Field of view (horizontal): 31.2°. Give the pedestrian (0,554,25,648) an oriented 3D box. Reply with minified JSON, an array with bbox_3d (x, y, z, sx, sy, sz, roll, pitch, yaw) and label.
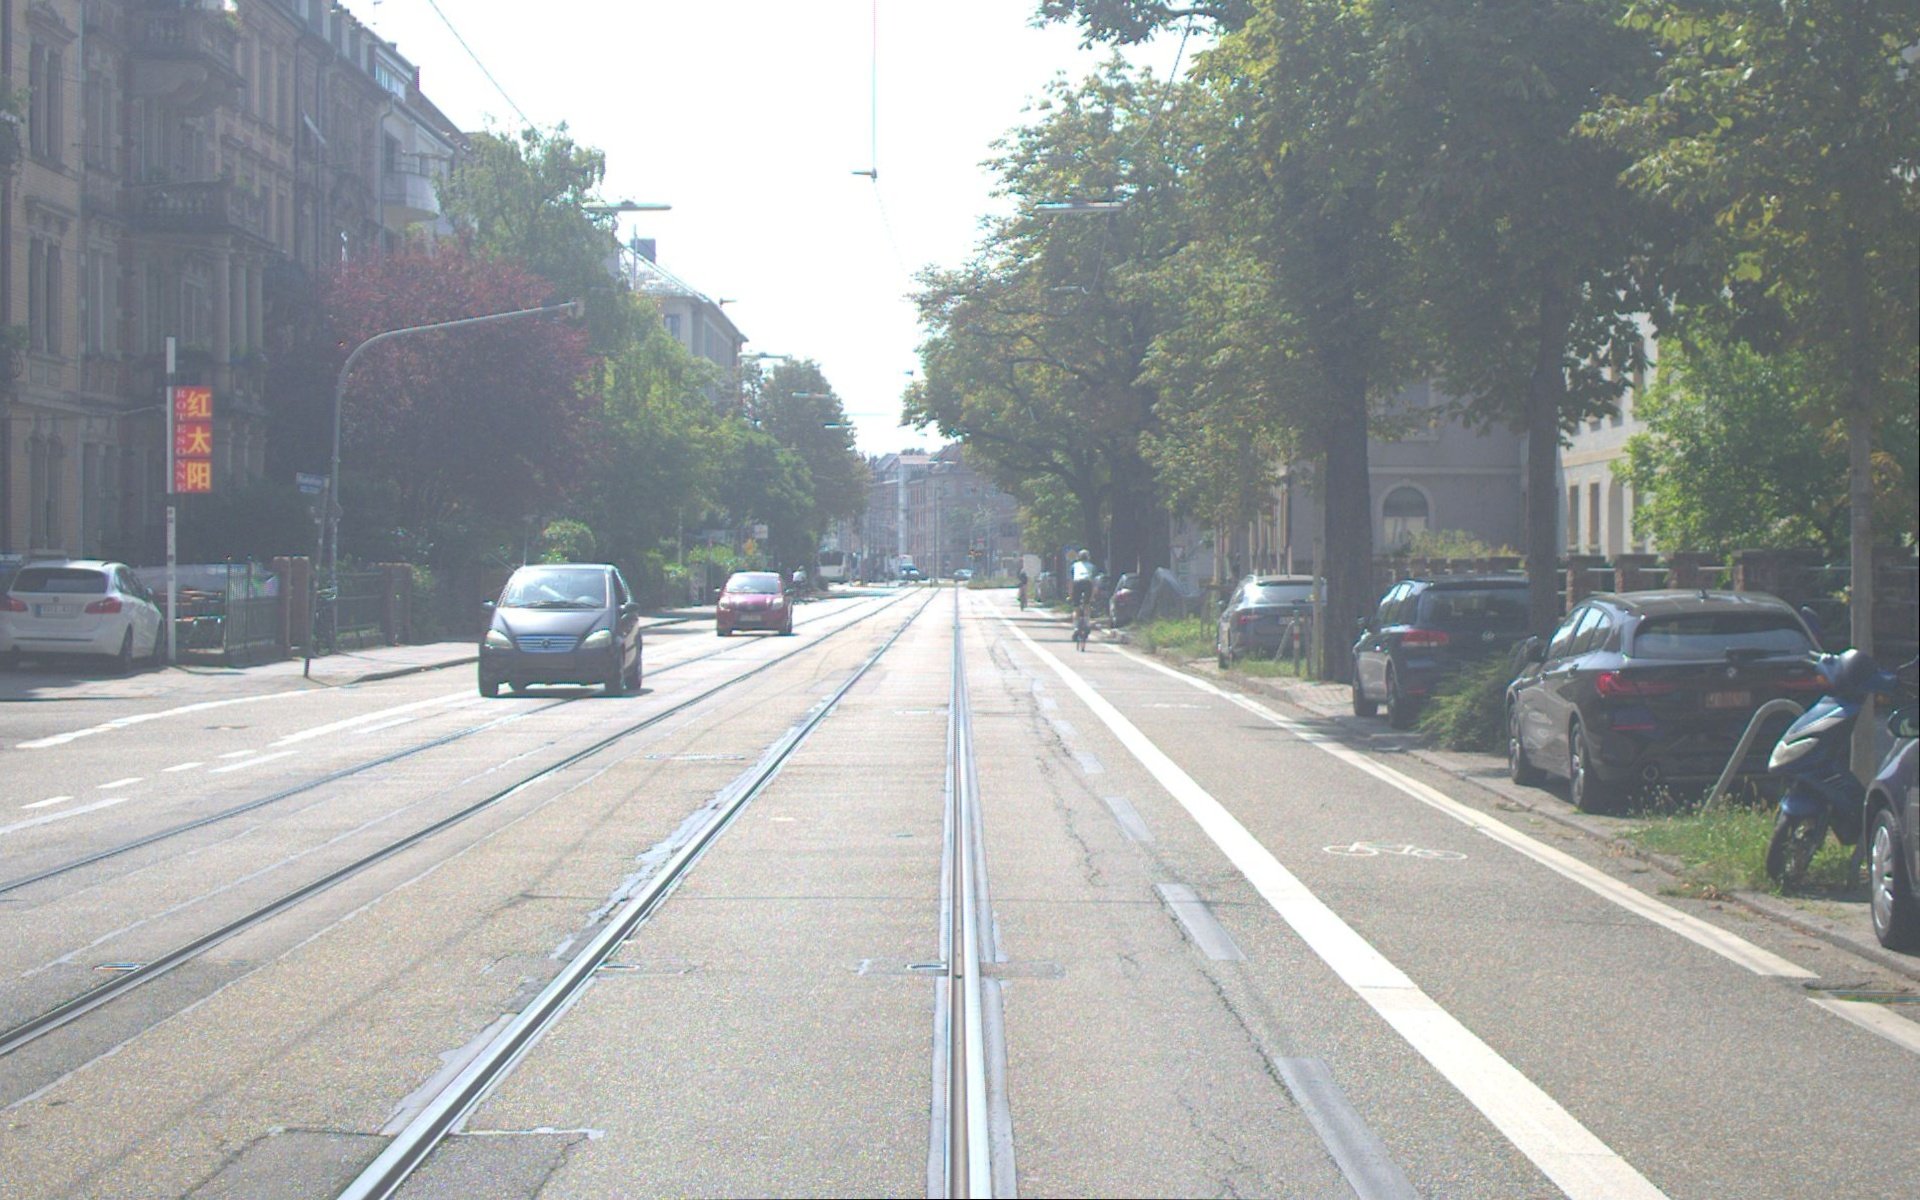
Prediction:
[{"bbox_3d":[-15.807,0.011,56.041,0.883,1.506,0.870,0,1,-31],"label":"pedestrian"}]

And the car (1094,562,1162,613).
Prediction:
[{"bbox_3d":[5.290,-0.417,108.783,1.840,1.527,4.780,-1,1,0],"label":"car"}]

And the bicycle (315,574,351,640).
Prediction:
[{"bbox_3d":[-10.728,0.118,58.866,0.390,1.095,1.569,1,1,-2],"label":"bicycle"}]

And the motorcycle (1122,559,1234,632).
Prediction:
[{"bbox_3d":[4.820,-0.093,76.065,2.344,1.535,0.966,-2,-1,41],"label":"motorcycle"}]

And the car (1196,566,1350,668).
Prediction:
[{"bbox_3d":[4.764,0.230,52.912,1.892,1.472,4.840,0,1,0],"label":"car"}]

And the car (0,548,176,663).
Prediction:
[{"bbox_3d":[-12.655,0.050,49.480,1.993,1.589,4.360,0,1,-4],"label":"car"}]

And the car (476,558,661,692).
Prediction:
[{"bbox_3d":[-4.743,0.266,42.129,1.827,1.535,4.000,0,1,0],"label":"car"}]

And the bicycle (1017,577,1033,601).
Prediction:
[{"bbox_3d":[2.591,-0.449,136.834,0.588,0.936,2.171,0,0,2],"label":"bicycle"}]

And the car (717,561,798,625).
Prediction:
[{"bbox_3d":[-4.850,-0.184,82.781,1.732,1.485,4.000,0,1,0],"label":"car"}]

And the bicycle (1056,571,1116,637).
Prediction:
[{"bbox_3d":[2.479,0.064,68.015,1.148,1.265,2.712,0,1,2],"label":"bicycle"}]

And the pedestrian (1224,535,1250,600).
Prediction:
[{"bbox_3d":[8.102,-0.945,100.588,0.706,1.885,0.714,0,0,2],"label":"pedestrian"}]

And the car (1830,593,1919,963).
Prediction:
[{"bbox_3d":[4.679,0.730,13.256,1.617,1.472,4.039,-1,1,0],"label":"car"}]

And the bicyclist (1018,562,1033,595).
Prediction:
[{"bbox_3d":[2.595,-0.853,136.836,0.579,1.274,0.471,0,0,3],"label":"bicyclist"}]

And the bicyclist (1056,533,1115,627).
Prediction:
[{"bbox_3d":[2.476,-0.397,68.027,1.125,1.830,0.956,0,0,1],"label":"bicyclist"}]

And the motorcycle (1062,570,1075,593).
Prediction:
[{"bbox_3d":[5.119,-0.867,161.787,0.549,1.064,2.330,0,0,0],"label":"motorcycle"}]

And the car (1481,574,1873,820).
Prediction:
[{"bbox_3d":[4.899,0.603,24.097,1.755,1.472,4.457,-3,0,0],"label":"car"}]

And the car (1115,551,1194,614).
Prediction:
[{"bbox_3d":[5.162,-0.489,91.656,1.840,1.527,4.115,0,2,0],"label":"car"}]

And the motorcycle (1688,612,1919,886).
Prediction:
[{"bbox_3d":[4.835,0.750,17.670,2.003,1.363,0.782,0,1,-2],"label":"motorcycle"}]

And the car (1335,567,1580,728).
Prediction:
[{"bbox_3d":[4.911,0.424,34.482,1.755,1.472,4.387,0,1,-1],"label":"car"}]
